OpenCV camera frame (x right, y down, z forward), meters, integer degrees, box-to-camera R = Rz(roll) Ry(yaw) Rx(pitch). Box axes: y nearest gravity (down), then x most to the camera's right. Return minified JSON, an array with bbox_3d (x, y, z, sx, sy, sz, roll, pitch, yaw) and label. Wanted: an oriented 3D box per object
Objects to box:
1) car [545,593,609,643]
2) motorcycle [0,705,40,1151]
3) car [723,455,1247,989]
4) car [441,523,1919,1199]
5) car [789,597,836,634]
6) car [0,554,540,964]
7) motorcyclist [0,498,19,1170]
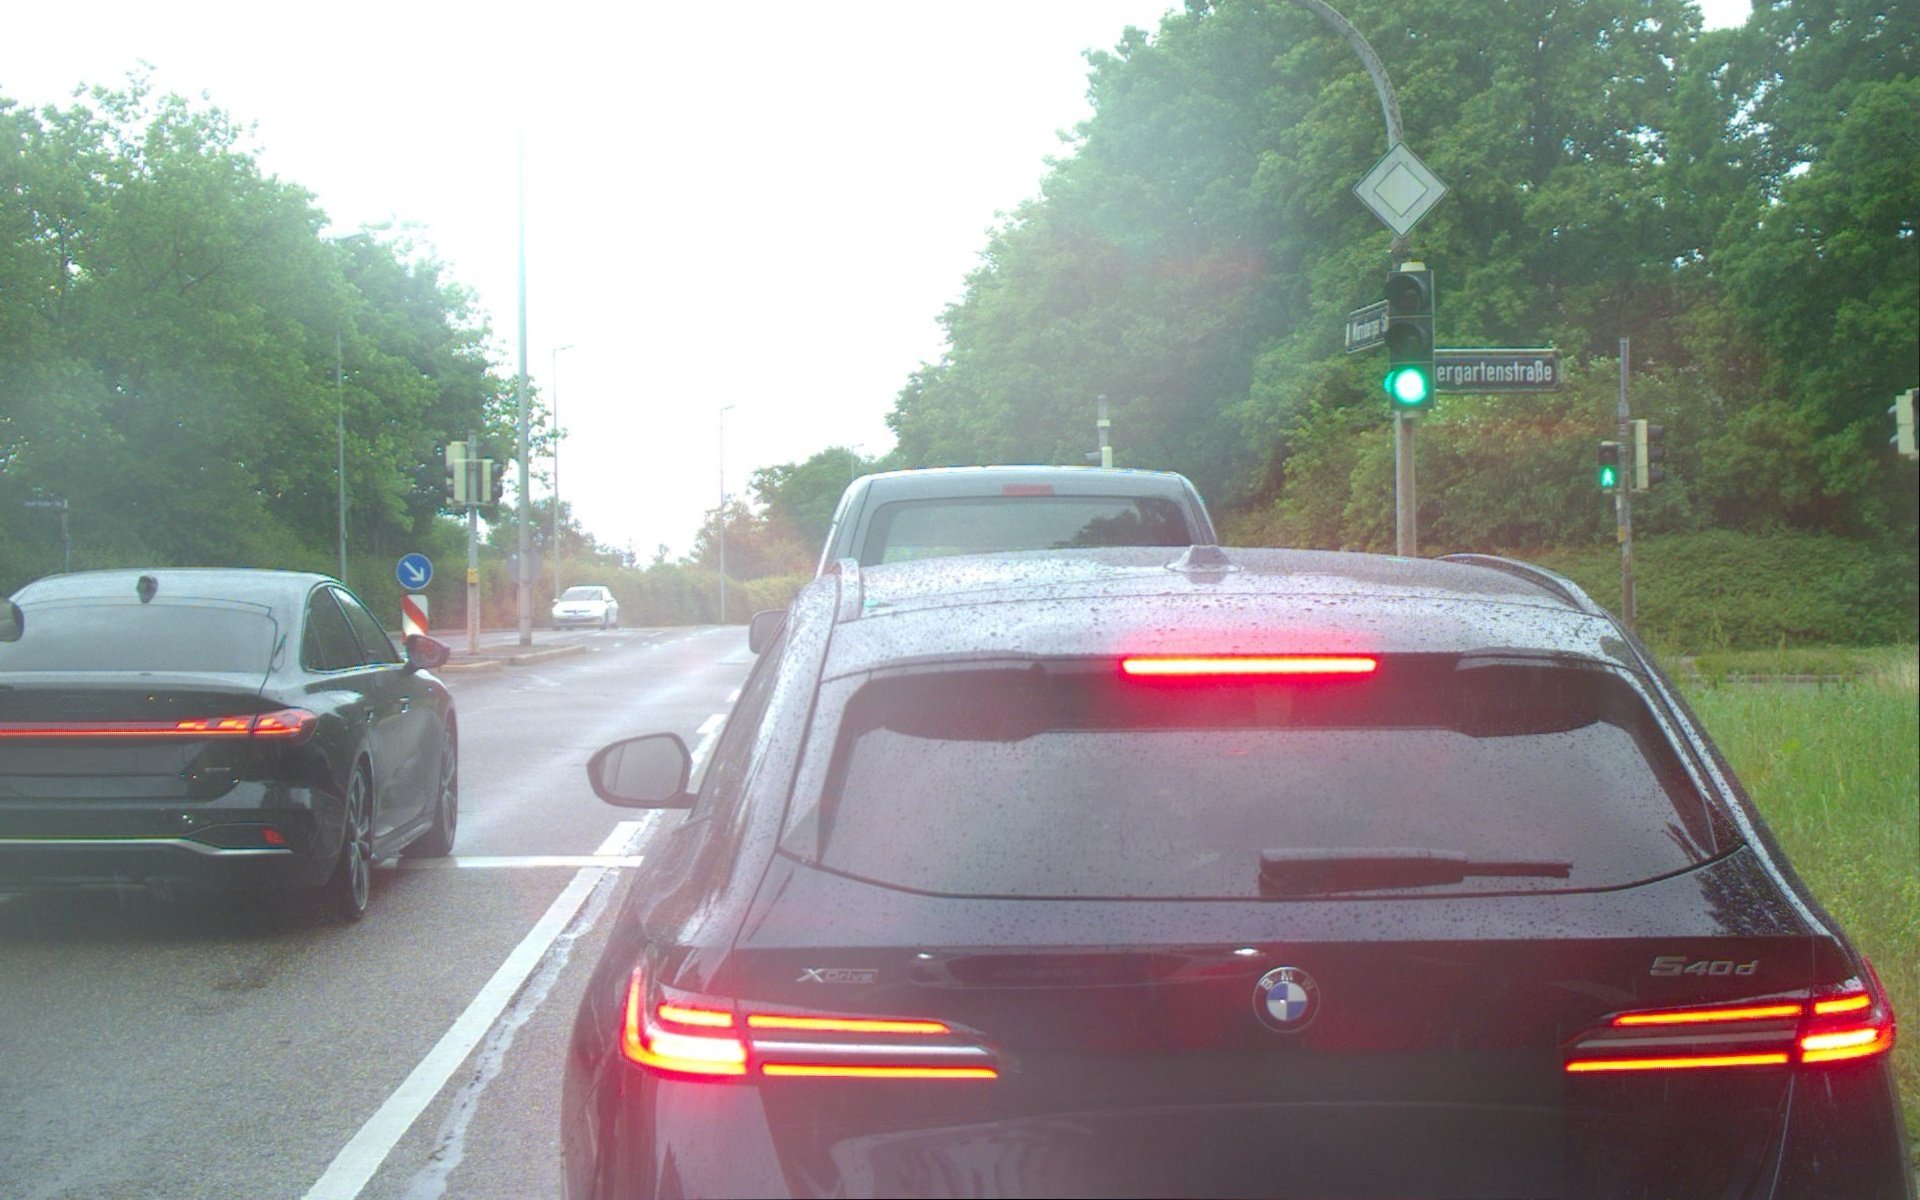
[{"bbox_3d":[-12.648,0.586,113.738,1.727,1.480,4.157,-2,1,-2],"label":"car"},{"bbox_3d":[-2.809,0.849,8.420,0.741,1.116,1.426,1,1,-1],"label":"motorcycle"},{"bbox_3d":[0.063,0.371,13.612,1.767,1.804,3.905,0,1,-1],"label":"car"},{"bbox_3d":[0.246,0.667,5.920,1.764,1.531,3.673,0,0,-1],"label":"car"},{"bbox_3d":[-6.596,0.702,154.253,2.025,1.558,3.877,-2,0,-2],"label":"car"},{"bbox_3d":[-3.031,0.538,14.505,2.014,1.410,4.487,0,1,-1],"label":"car"},{"bbox_3d":[-2.769,0.575,8.321,0.845,1.641,0.468,0,1,-1],"label":"motorcyclist"}]
